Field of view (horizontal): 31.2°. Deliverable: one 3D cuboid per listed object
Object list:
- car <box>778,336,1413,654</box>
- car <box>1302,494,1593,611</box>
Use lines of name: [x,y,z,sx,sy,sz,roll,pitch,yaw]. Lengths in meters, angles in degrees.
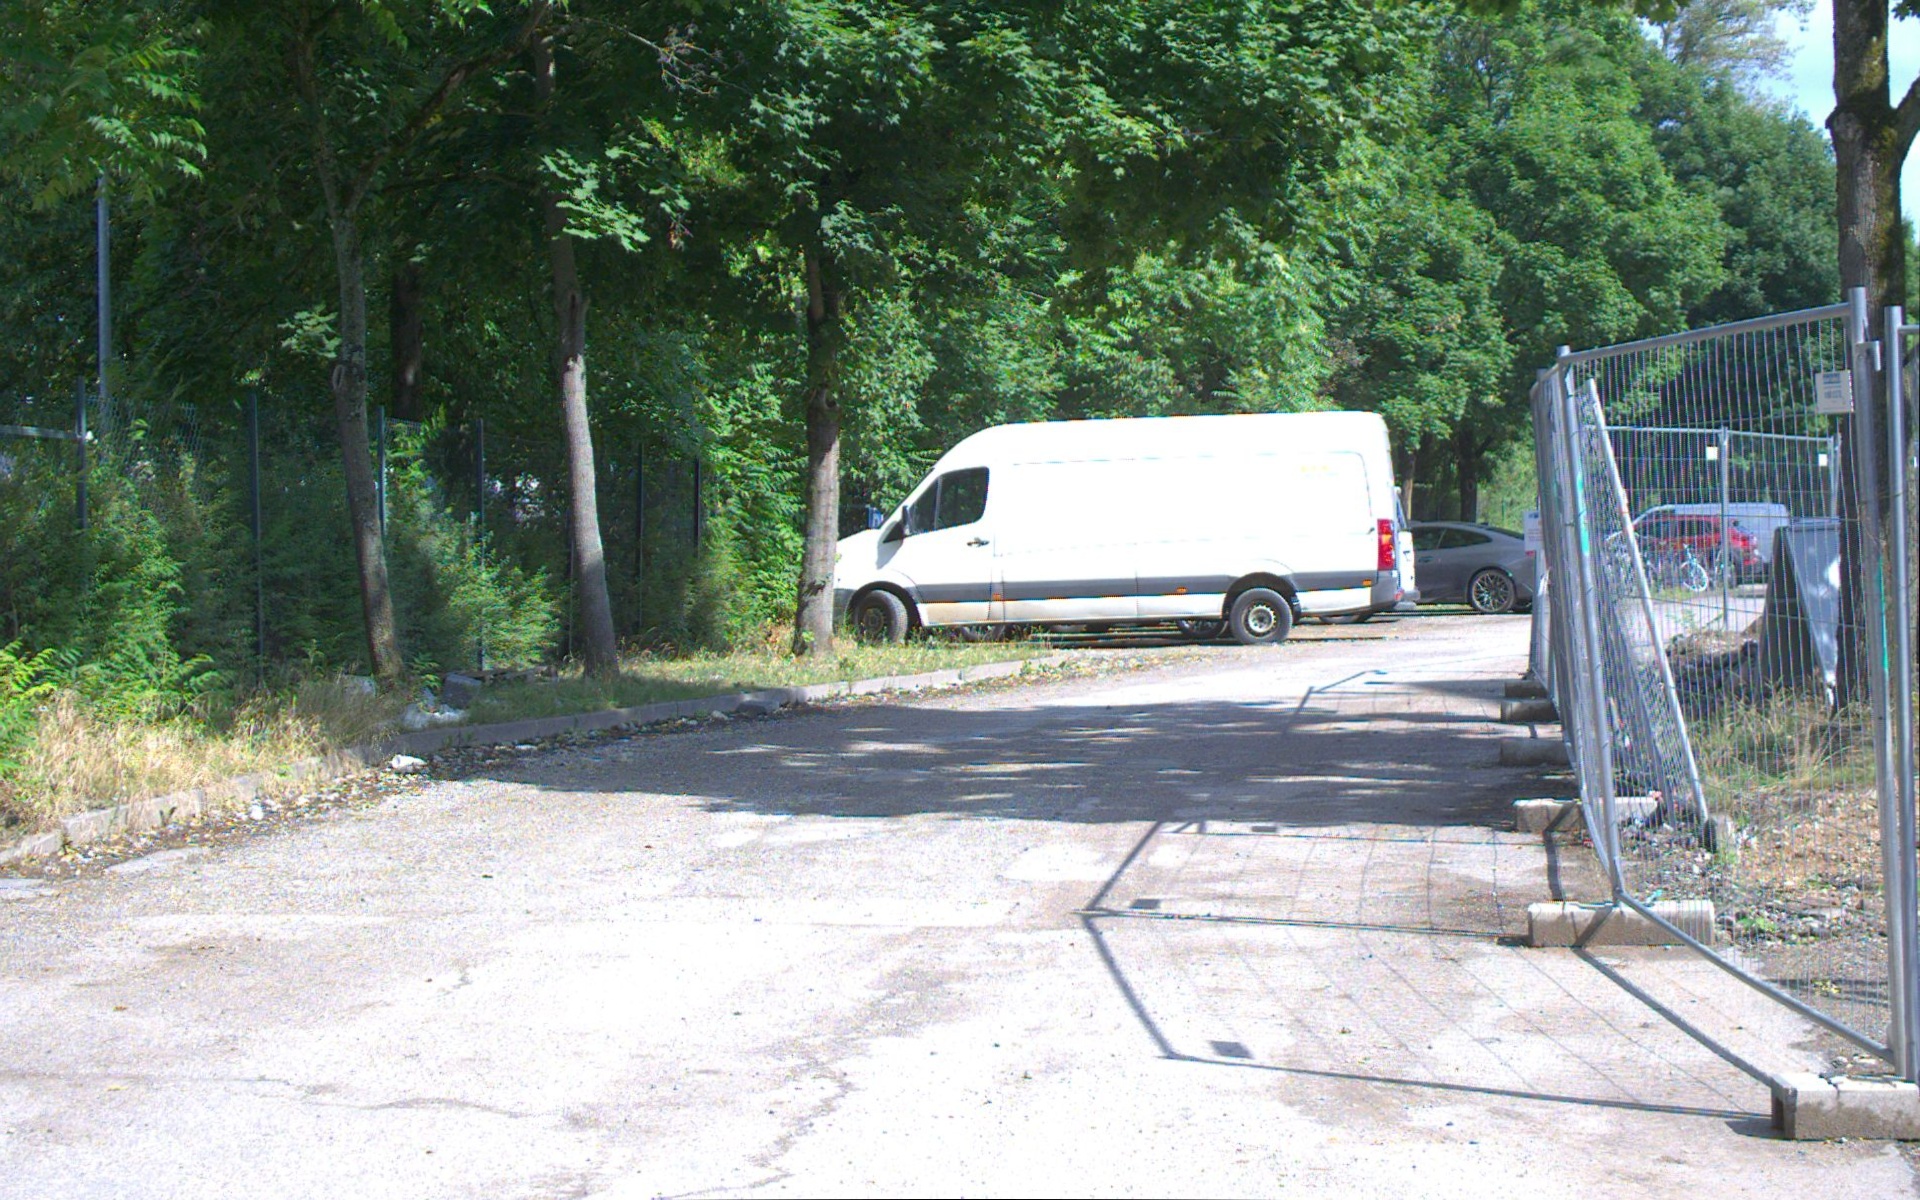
car: [1.602,-1.203,39.862,6.954,3.037,2.000,5,0,6]
car: [7.371,-0.714,51.867,3.991,1.423,1.843,4,-1,19]
